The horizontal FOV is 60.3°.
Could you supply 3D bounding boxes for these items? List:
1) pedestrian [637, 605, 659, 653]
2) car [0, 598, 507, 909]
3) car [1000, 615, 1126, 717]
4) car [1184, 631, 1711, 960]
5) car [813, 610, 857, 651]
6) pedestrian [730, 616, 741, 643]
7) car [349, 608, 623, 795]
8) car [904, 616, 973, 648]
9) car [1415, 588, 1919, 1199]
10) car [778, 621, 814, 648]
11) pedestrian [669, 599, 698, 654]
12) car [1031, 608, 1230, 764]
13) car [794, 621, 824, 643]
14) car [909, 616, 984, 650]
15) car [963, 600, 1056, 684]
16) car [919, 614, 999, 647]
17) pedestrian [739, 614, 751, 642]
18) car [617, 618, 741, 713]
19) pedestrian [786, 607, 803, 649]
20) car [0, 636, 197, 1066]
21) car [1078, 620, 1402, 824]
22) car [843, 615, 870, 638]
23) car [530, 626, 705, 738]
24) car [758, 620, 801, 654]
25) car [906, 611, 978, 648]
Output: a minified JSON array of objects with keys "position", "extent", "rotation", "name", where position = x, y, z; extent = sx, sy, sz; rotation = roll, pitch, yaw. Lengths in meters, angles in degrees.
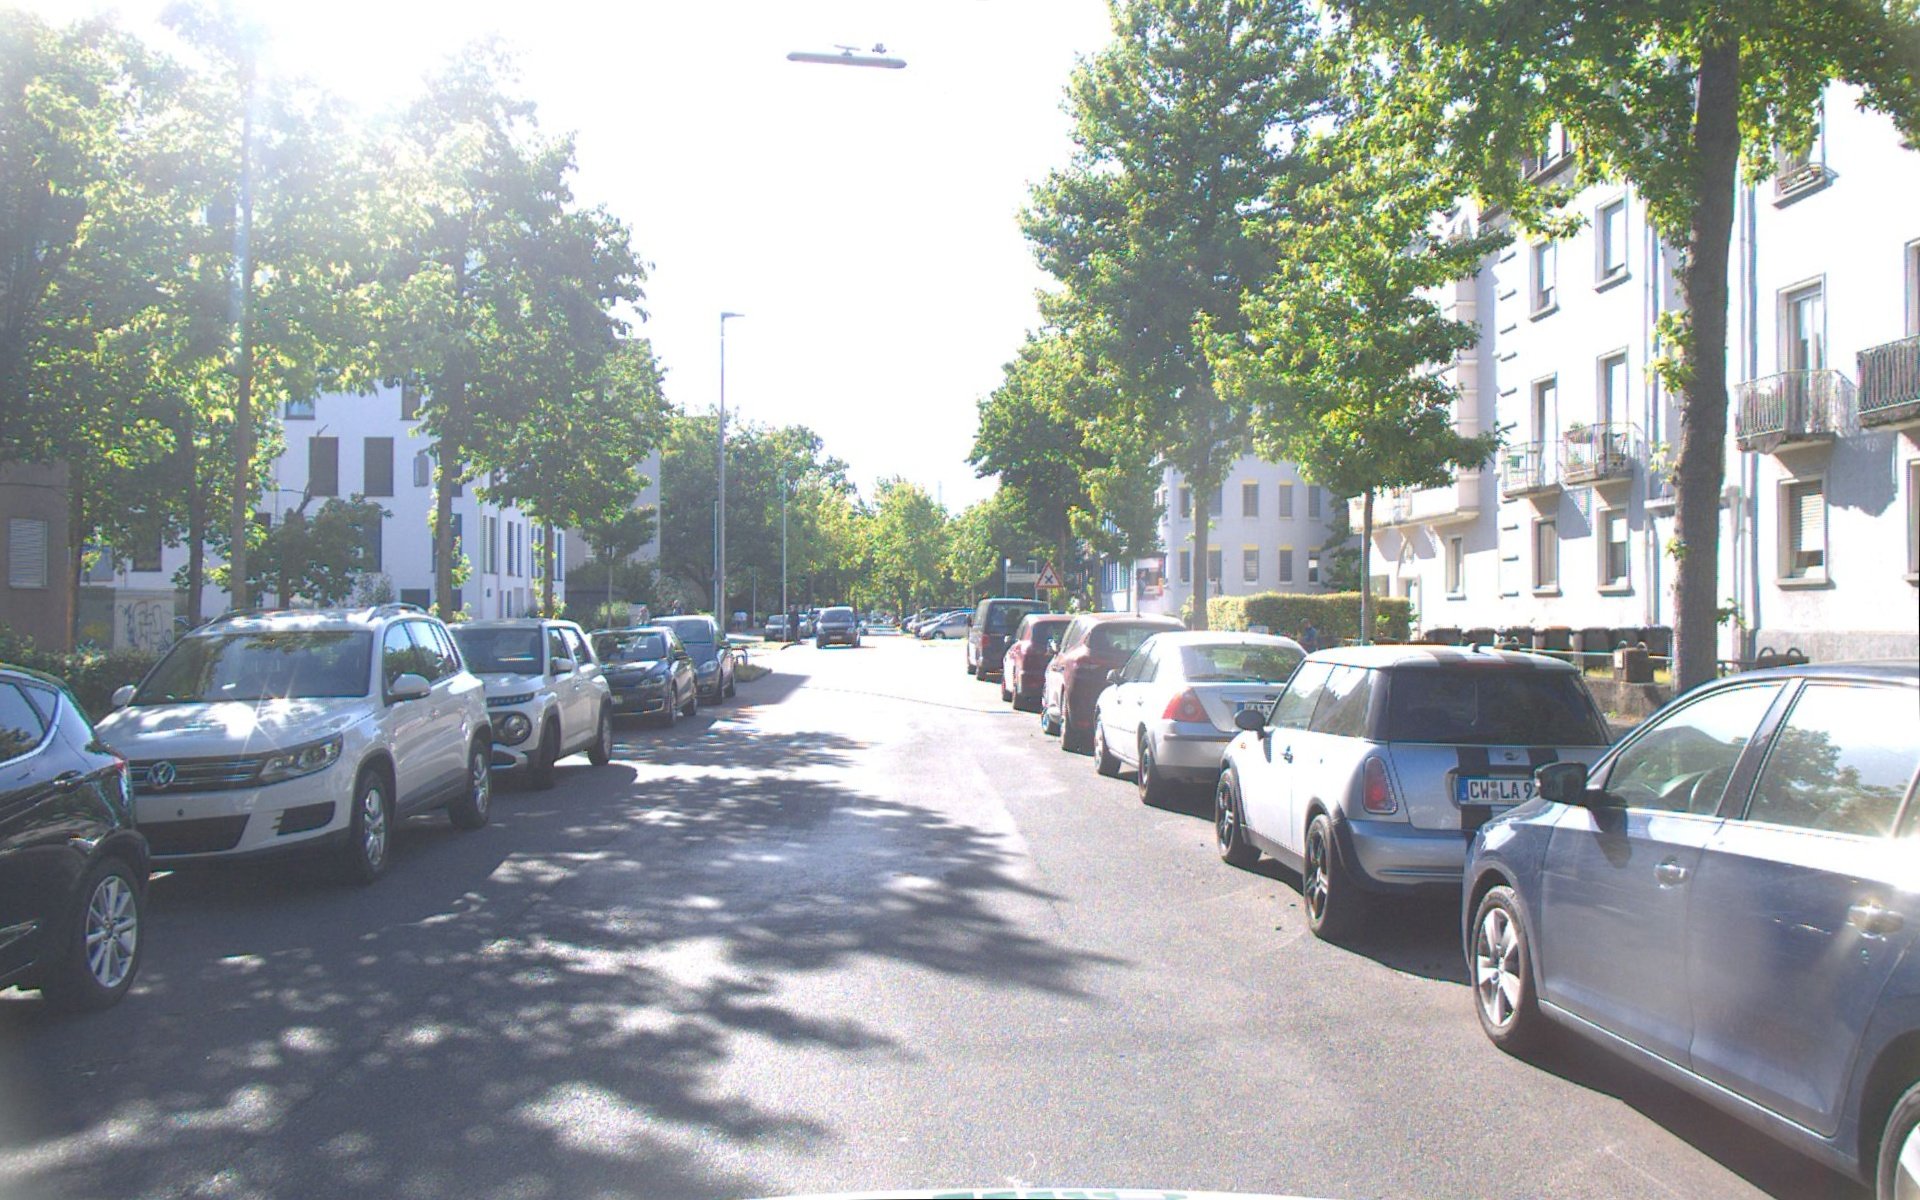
[{"position":[-13.361,1.234,70.873],"extent":[0.842,2.049,0.980],"rotation":[0,-1,-5],"name":"pedestrian"},{"position":[-4.359,0.842,10.883],"extent":[1.775,1.624,4.230],"rotation":[-1,-1,-3],"name":"car"},{"position":[1.768,1.125,29.617],"extent":[1.797,1.628,4.156],"rotation":[2,-1,-2],"name":"car"},{"position":[2.517,0.941,9.525],"extent":[1.753,1.478,3.779],"rotation":[1,-1,-3],"name":"car"},{"position":[-5.080,1.246,67.491],"extent":[1.748,1.637,3.997],"rotation":[0,-1,-4],"name":"car"},{"position":[-15.720,2.059,115.983],"extent":[0.748,1.934,0.817],"rotation":[0,-1,-9],"name":"pedestrian"},{"position":[-4.548,0.918,16.451],"extent":[1.676,1.571,3.928],"rotation":[-2,-1,-2],"name":"car"},{"position":[-1.285,1.855,96.620],"extent":[3.909,1.862,1.998],"rotation":[0,-1,-5],"name":"car"},{"position":[2.859,0.786,4.835],"extent":[1.659,1.567,4.438],"rotation":[1,-1,-2],"name":"car"},{"position":[-9.923,2.099,100.476],"extent":[1.953,1.613,3.998],"rotation":[0,-1,-2],"name":"car"},{"position":[-10.507,1.005,62.825],"extent":[0.841,2.049,0.982],"rotation":[0,-1,6],"name":"pedestrian"},{"position":[2.075,1.026,21.375],"extent":[1.869,1.729,4.310],"rotation":[3,-1,-3],"name":"car"},{"position":[-11.140,2.350,122.216],"extent":[1.953,1.613,3.998],"rotation":[0,-1,-2],"name":"car"},{"position":[-0.734,1.774,89.317],"extent":[3.909,1.837,1.887],"rotation":[0,-1,-5],"name":"car"},{"position":[1.176,1.041,41.826],"extent":[1.931,1.983,4.982],"rotation":[0,-1,-3],"name":"car"},{"position":[-0.068,1.545,84.131],"extent":[3.911,1.615,1.724],"rotation":[0,-1,-7],"name":"car"},{"position":[-15.550,2.020,119.812],"extent":[0.843,2.049,0.979],"rotation":[0,-1,-9],"name":"pedestrian"},{"position":[-5.228,1.187,31.251],"extent":[1.803,1.623,4.259],"rotation":[-2,-1,-3],"name":"car"},{"position":[-7.659,1.273,76.520],"extent":[0.702,1.934,0.834],"rotation":[0,-1,-12],"name":"pedestrian"},{"position":[-4.172,0.893,5.368],"extent":[1.727,1.469,3.906],"rotation":[-2,-1,-3],"name":"car"},{"position":[2.370,1.007,15.292],"extent":[1.860,1.500,4.695],"rotation":[3,-1,-4],"name":"car"},{"position":[-7.294,1.854,116.938],"extent":[1.857,1.588,3.997],"rotation":[0,-1,-3],"name":"car"},{"position":[-5.100,1.170,25.183],"extent":[1.954,1.478,4.259],"rotation":[-2,-1,-3],"name":"car"},{"position":[-9.274,1.861,85.212],"extent":[1.953,1.700,3.998],"rotation":[0,-1,-2],"name":"car"},{"position":[-1.022,1.644,92.135],"extent":[3.909,2.049,1.998],"rotation":[0,-1,-5],"name":"car"}]
